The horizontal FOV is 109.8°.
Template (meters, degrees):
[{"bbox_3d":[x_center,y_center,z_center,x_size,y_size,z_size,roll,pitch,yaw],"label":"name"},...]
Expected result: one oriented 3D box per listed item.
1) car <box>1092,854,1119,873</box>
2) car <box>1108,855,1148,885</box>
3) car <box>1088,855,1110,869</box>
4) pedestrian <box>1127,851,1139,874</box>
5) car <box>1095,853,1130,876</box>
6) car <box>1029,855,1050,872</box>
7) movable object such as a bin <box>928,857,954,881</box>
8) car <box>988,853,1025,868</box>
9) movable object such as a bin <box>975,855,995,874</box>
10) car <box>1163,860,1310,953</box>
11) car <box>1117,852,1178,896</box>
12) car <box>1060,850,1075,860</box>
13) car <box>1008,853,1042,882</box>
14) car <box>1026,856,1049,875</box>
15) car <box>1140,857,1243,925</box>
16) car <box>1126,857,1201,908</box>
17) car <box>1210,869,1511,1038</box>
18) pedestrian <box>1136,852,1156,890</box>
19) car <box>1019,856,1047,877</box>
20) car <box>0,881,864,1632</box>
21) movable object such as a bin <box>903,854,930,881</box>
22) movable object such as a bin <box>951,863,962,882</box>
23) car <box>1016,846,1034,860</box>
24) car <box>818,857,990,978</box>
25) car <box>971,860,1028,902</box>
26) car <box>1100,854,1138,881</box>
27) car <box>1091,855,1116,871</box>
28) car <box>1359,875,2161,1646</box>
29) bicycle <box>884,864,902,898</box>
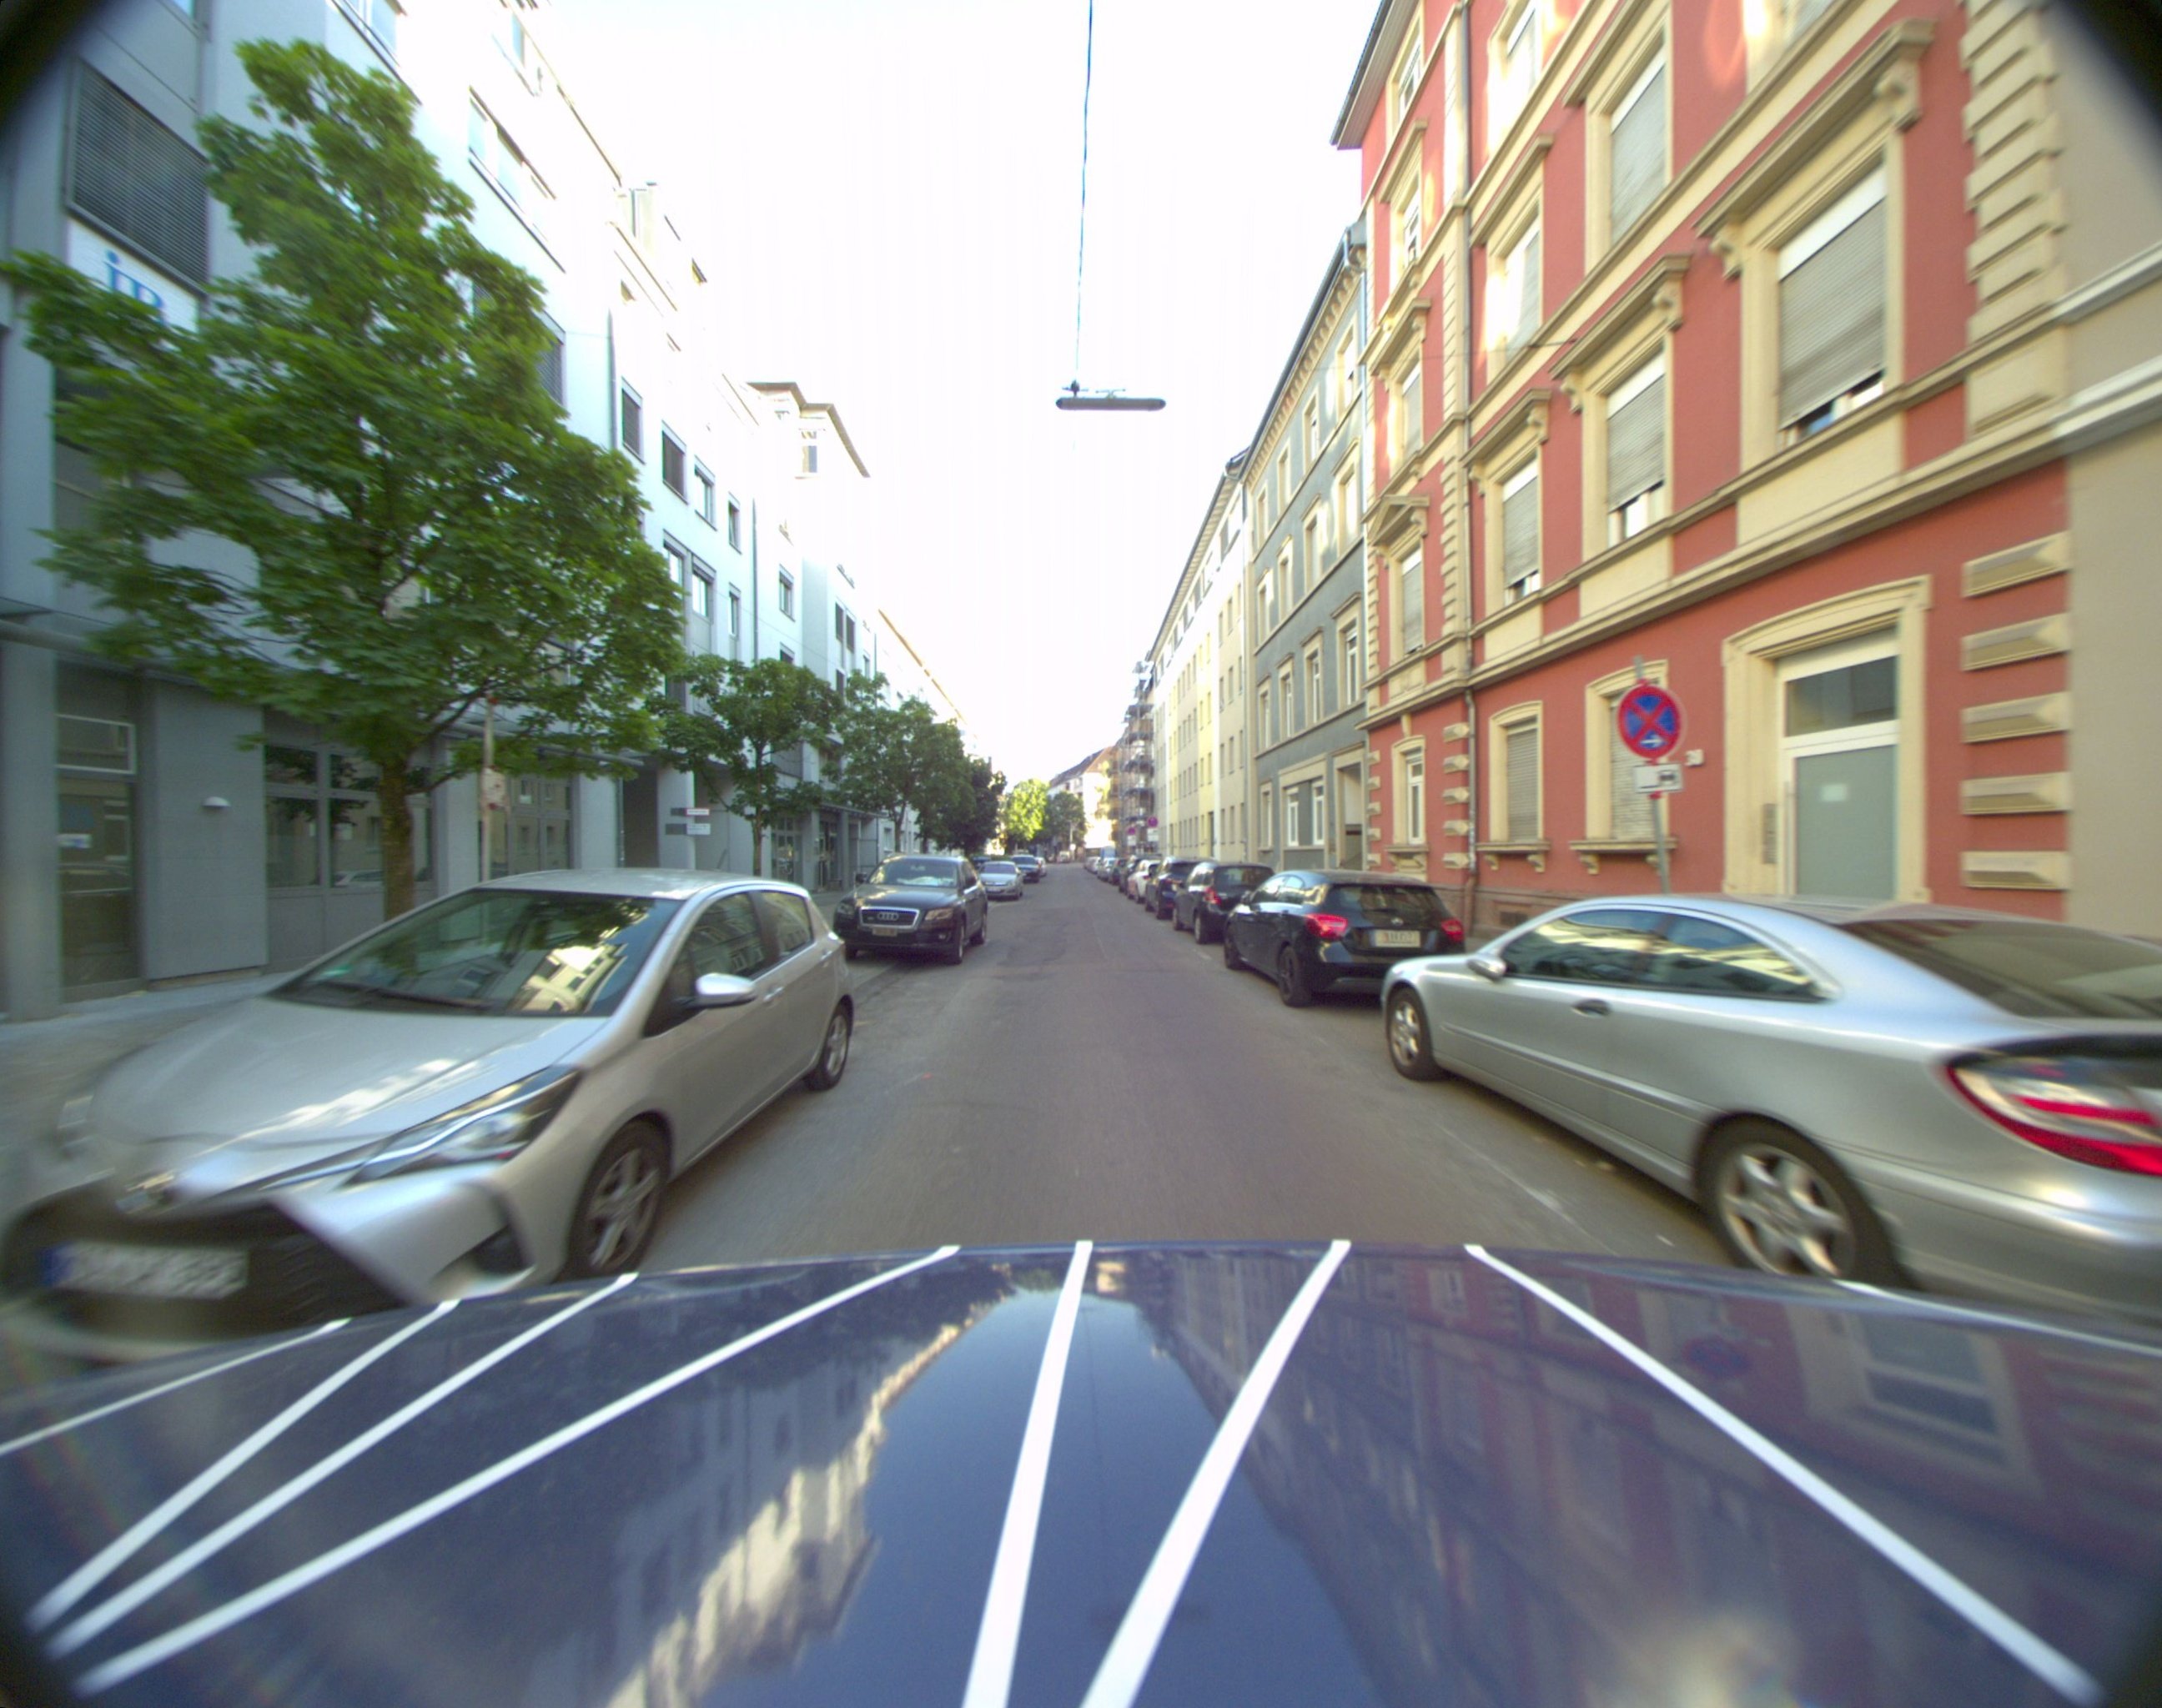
[{"bbox_3d":[2.122,0.788,65.995,1.999,1.496,3.999,1,0,-3],"label":"car"},{"bbox_3d":[2.496,0.814,41.325,1.783,1.479,4.420,1,0,-1],"label":"car"},{"bbox_3d":[1.924,0.794,81.558,1.999,1.423,3.999,1,0,-3],"label":"car"},{"bbox_3d":[4.049,0.669,59.264,0.791,1.750,1.092,1,1,-1],"label":"pedestrian"},{"bbox_3d":[2.093,0.683,51.536,1.928,1.479,4.616,1,0,-3],"label":"car"},{"bbox_3d":[-3.648,0.824,67.590,1.681,1.411,4.135,1,0,-2],"label":"car"},{"bbox_3d":[-7.763,0.838,42.160,1.265,1.313,1.139,1,1,-1],"label":"movable object such as a bin"},{"bbox_3d":[-8.346,0.716,84.948,3.998,1.556,1.999,1,0,-3],"label":"car"},{"bbox_3d":[-7.146,0.762,56.614,1.287,1.428,1.223,1,1,-1],"label":"movable object such as a bin"},{"bbox_3d":[2.905,0.921,15.166,1.906,1.551,4.240,1,0,-2],"label":"car"},{"bbox_3d":[2.643,0.778,31.265,1.926,1.654,4.468,1,0,-2],"label":"car"},{"bbox_3d":[-2.351,0.154,128.775,2.081,1.760,4.214,1,0,-7],"label":"car"},{"bbox_3d":[-3.312,0.775,45.850,1.876,1.626,4.721,1,0,-3],"label":"car"},{"bbox_3d":[-3.473,0.899,61.404,1.681,1.411,4.135,1,0,-1],"label":"car"},{"bbox_3d":[2.771,0.885,19.984,1.926,1.551,4.266,1,0,-2],"label":"car"},{"bbox_3d":[2.709,0.887,25.886,1.926,1.551,4.266,1,0,-2],"label":"car"},{"bbox_3d":[2.963,0.969,9.191,1.926,1.475,4.266,1,0,-2],"label":"car"},{"bbox_3d":[3.093,0.809,36.313,0.791,1.780,1.092,1,1,-1],"label":"pedestrian"},{"bbox_3d":[-3.534,0.891,56.459,1.680,1.474,3.652,1,0,1],"label":"car"},{"bbox_3d":[-2.483,0.980,3.693,1.680,1.516,3.970,1,0,0],"label":"car"},{"bbox_3d":[-9.065,0.731,41.882,1.265,1.428,1.139,1,1,-1],"label":"movable object such as a bin"},{"bbox_3d":[-6.851,1.023,41.841,0.529,1.065,0.625,1,1,-1],"label":"movable object such as a bin"},{"bbox_3d":[-10.178,-0.200,137.370,2.163,2.270,6.199,1,0,-14],"label":"car"},{"bbox_3d":[-2.709,0.886,12.696,1.890,1.613,4.433,1,0,-1],"label":"car"},{"bbox_3d":[-3.046,0.973,29.174,1.768,1.420,4.344,1,0,-1],"label":"car"},{"bbox_3d":[2.259,0.785,46.177,1.928,1.479,4.616,1,0,-2],"label":"car"},{"bbox_3d":[2.095,0.813,70.824,1.999,1.439,3.999,1,0,-3],"label":"car"},{"bbox_3d":[3.208,0.956,3.794,1.926,1.551,4.266,1,0,-2],"label":"car"},{"bbox_3d":[-6.762,0.958,27.390,0.522,1.161,1.738,1,0,-11],"label":"bicycle"}]
